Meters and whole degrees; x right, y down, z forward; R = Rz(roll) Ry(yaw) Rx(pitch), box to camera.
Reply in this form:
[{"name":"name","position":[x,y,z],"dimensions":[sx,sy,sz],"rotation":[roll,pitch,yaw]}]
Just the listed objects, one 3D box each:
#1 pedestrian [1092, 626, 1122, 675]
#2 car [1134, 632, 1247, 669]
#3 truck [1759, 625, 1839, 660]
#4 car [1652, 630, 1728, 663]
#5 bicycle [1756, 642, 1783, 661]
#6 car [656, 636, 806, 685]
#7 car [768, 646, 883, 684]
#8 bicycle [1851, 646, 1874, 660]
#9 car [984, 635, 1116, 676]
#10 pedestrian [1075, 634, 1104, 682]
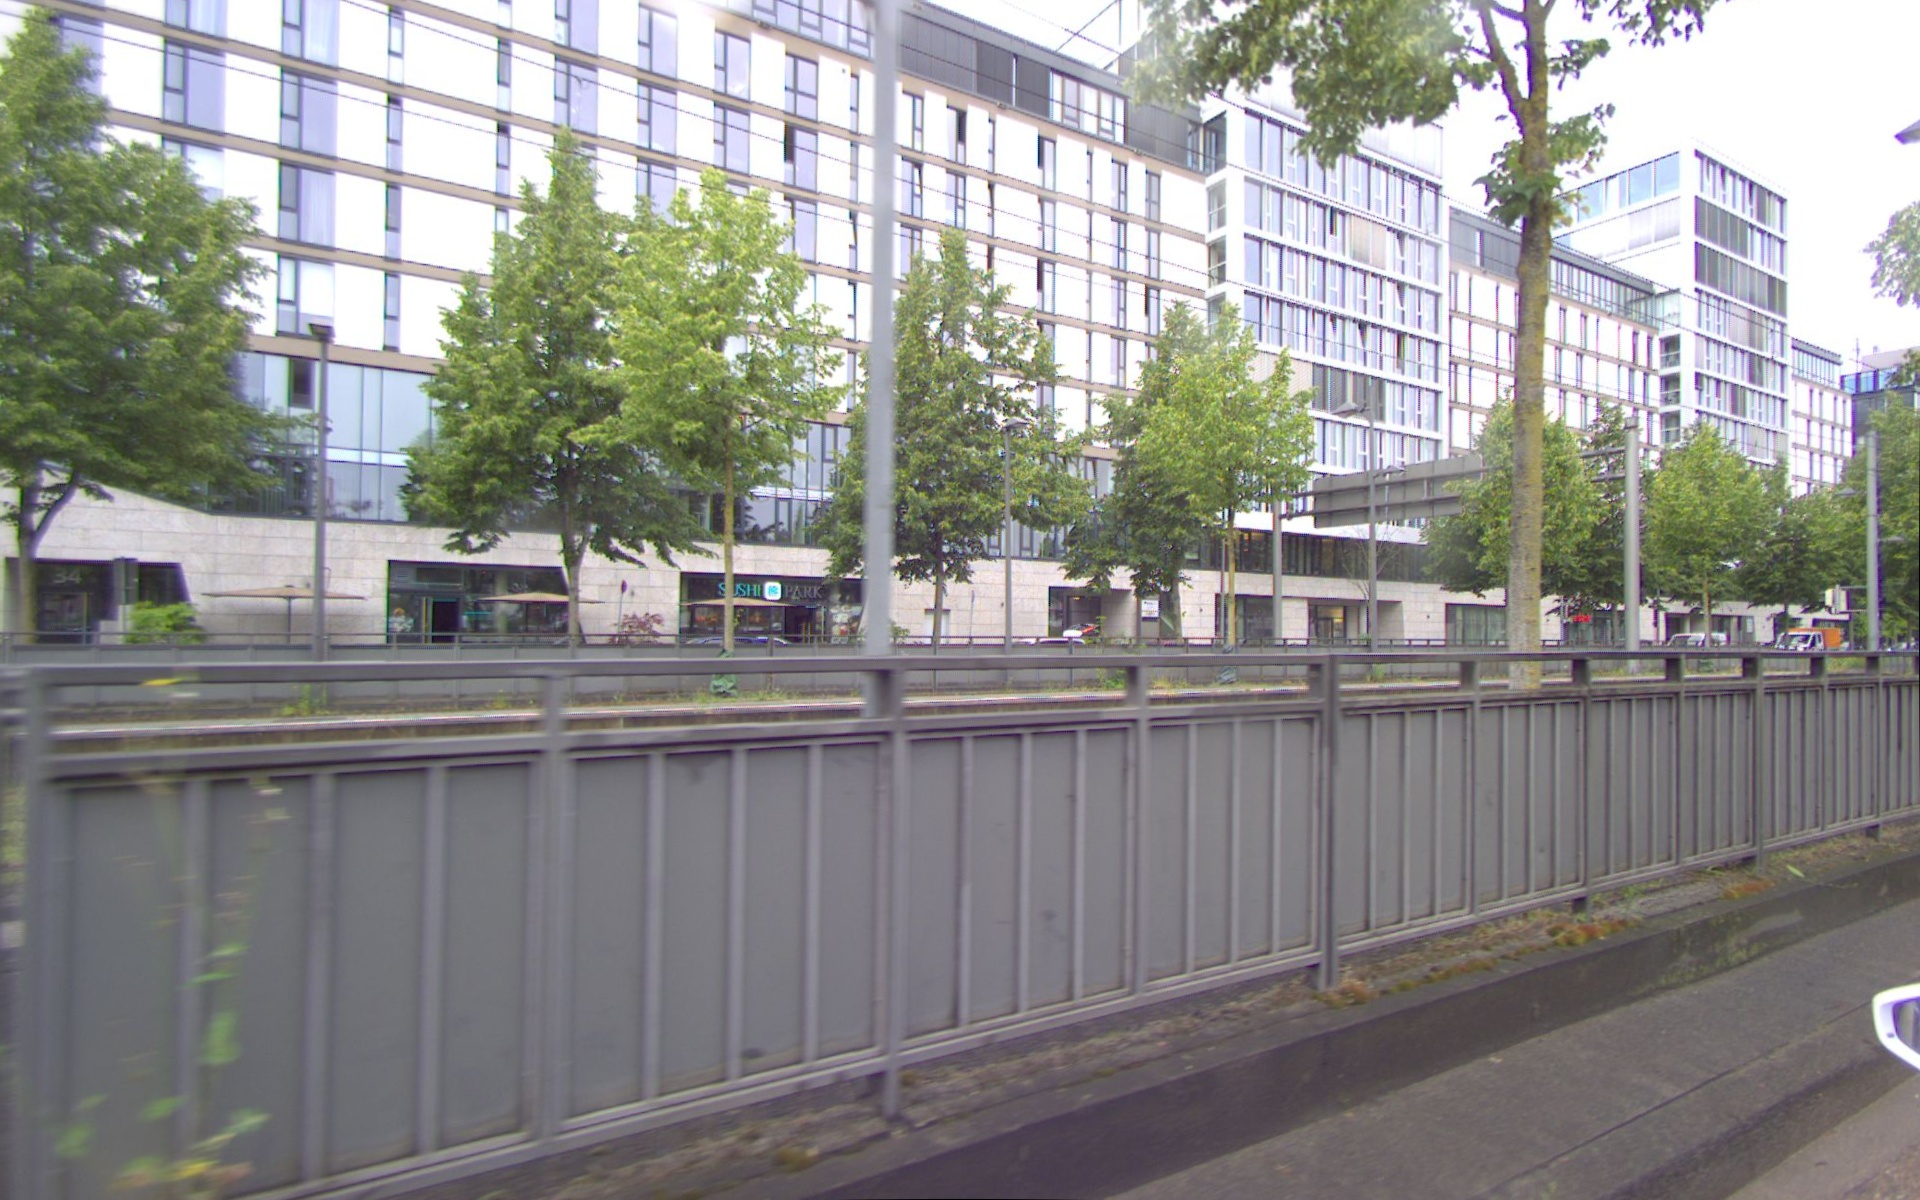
[{"name":"pedestrian","position":[5.244,1.792,35.886],"dimensions":[0.783,1.714,0.708],"rotation":[1,-1,-28]},{"name":"car","position":[8.590,1.877,37.407],"dimensions":[3.814,1.305,1.985],"rotation":[2,-2,-30]},{"name":"truck","position":[57.858,2.905,69.272],"dimensions":[6.238,2.322,2.414],"rotation":[2,-2,-32]},{"name":"car","position":[43.813,2.758,60.266],"dimensions":[5.107,1.876,1.983],"rotation":[2,-2,-32]},{"name":"bicycle","position":[70.050,4.445,86.888],"dimensions":[0.673,1.559,1.694],"rotation":[2,-1,-31]},{"name":"car","position":[-6.628,1.751,29.121],"dimensions":[3.817,1.305,1.983],"rotation":[3,-2,-31]},{"name":"car","position":[-5.030,2.394,37.560],"dimensions":[3.814,1.305,1.985],"rotation":[2,-2,-30]},{"name":"bicycle","position":[62.167,3.660,69.194],"dimensions":[1.735,0.957,0.597],"rotation":[2,-2,-28]},{"name":"car","position":[3.025,1.858,33.773],"dimensions":[4.022,1.305,1.985],"rotation":[2,-2,-30]},{"name":"pedestrian","position":[4.709,2.090,36.467],"dimensions":[0.783,1.714,0.708],"rotation":[1,-1,-28]}]
